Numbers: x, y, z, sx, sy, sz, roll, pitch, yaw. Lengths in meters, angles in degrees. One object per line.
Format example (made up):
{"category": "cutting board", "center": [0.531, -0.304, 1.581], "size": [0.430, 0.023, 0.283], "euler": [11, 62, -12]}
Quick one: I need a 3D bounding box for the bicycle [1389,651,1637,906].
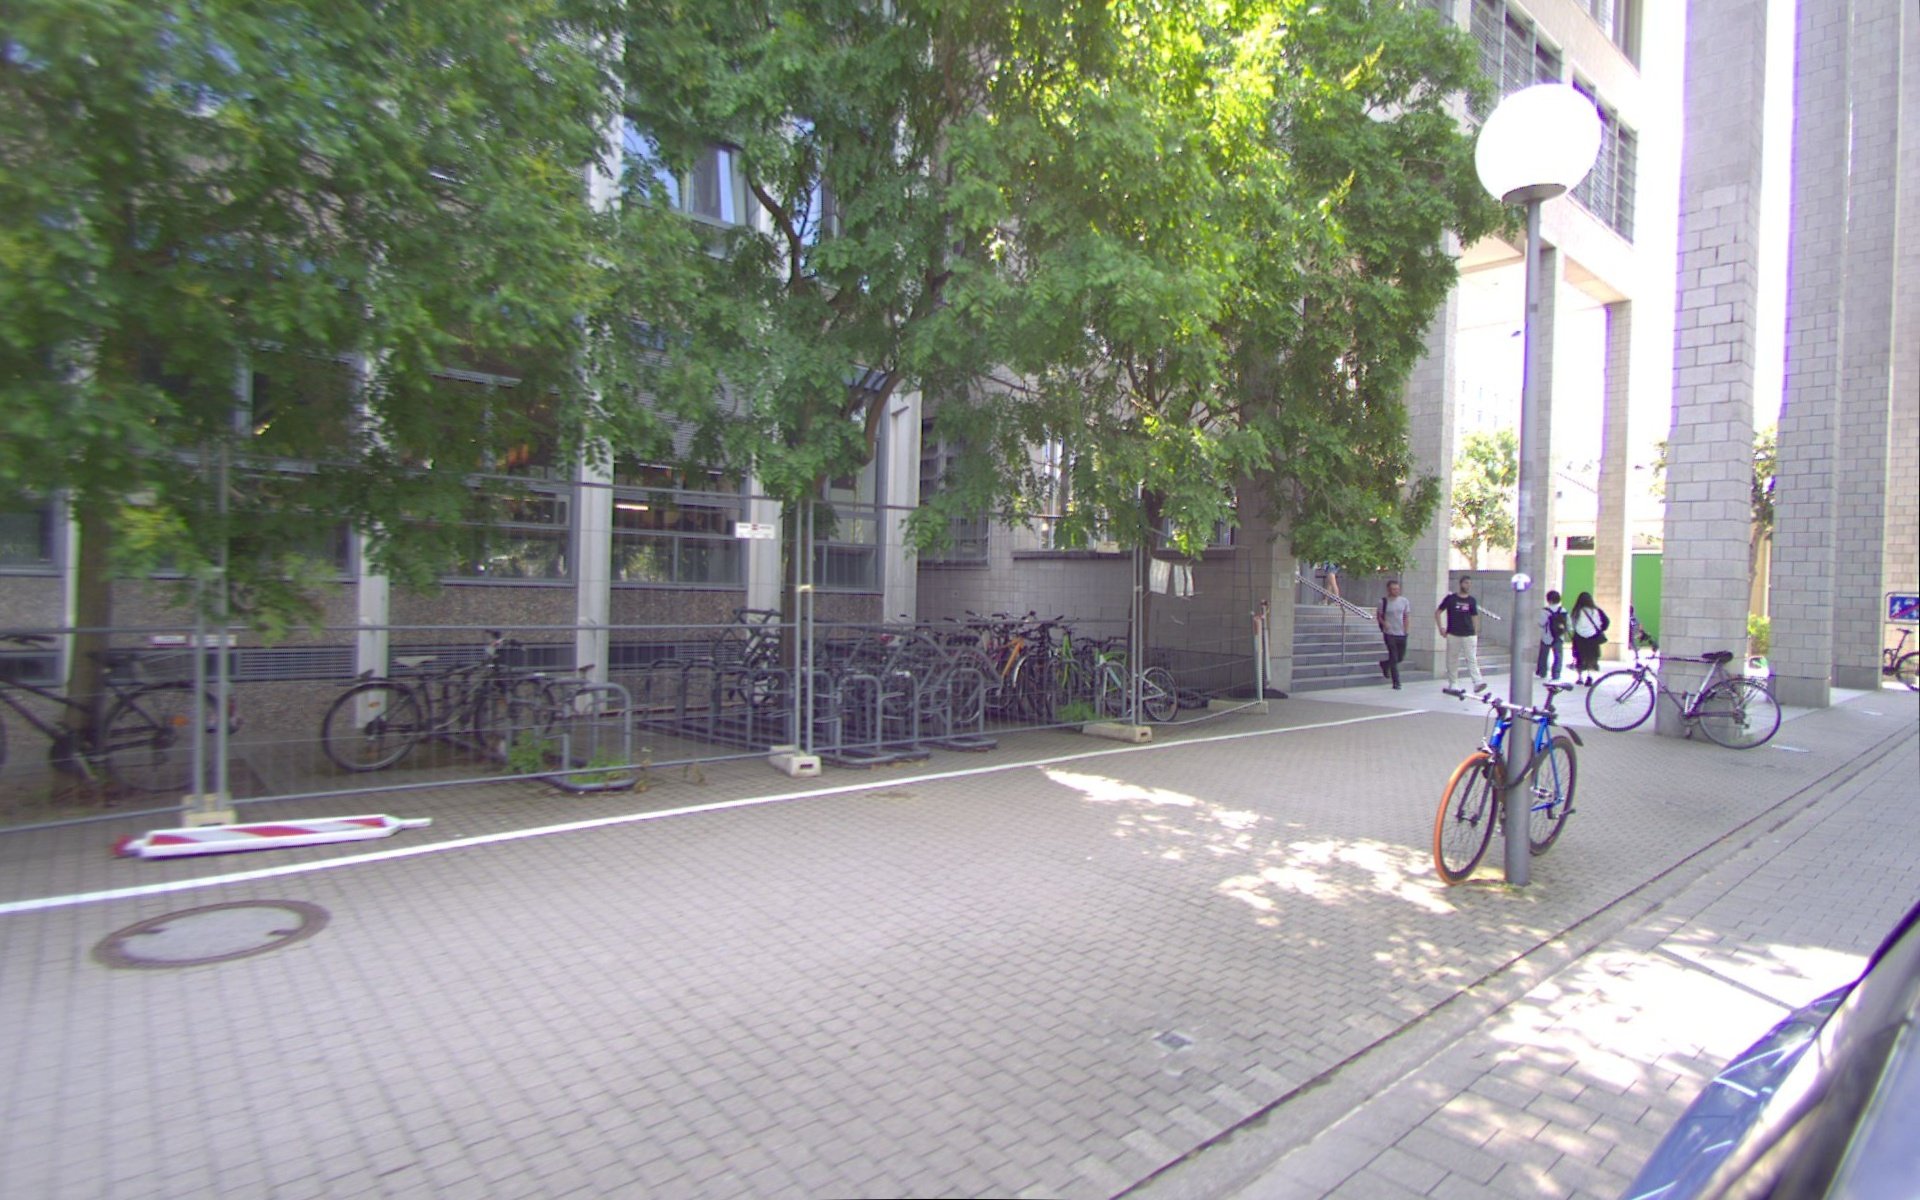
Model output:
{"category": "bicycle", "center": [2.971, 0.843, 5.347], "size": [1.826, 1.052, 0.538], "euler": [1, 1, -42]}

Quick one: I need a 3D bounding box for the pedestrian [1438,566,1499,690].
{"category": "pedestrian", "center": [7.822, 0.416, 15.603], "size": [0.694, 1.826, 0.876], "euler": [2, 0, 21]}

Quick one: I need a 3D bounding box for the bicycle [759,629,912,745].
{"category": "bicycle", "center": [-1.053, 0.723, 8.808], "size": [1.424, 0.917, 0.291], "euler": [1, 1, -45]}

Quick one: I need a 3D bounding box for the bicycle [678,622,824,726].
{"category": "bicycle", "center": [-1.975, 0.679, 9.696], "size": [1.424, 0.917, 0.291], "euler": [1, 1, -45]}

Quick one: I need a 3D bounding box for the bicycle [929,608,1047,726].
{"category": "bicycle", "center": [0.312, 0.663, 10.502], "size": [1.424, 1.142, 0.291], "euler": [1, 1, -45]}

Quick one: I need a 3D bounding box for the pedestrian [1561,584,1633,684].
{"category": "pedestrian", "center": [10.944, 0.564, 17.413], "size": [0.796, 1.637, 0.737], "euler": [2, 1, 15]}

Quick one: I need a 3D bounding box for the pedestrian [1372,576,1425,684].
{"category": "pedestrian", "center": [7.070, 0.470, 16.349], "size": [0.694, 1.676, 0.876], "euler": [2, 0, 21]}

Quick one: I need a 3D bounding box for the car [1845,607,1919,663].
{"category": "car", "center": [28.417, 1.055, 29.461], "size": [1.624, 1.494, 3.775], "euler": [-1, 3, -40]}

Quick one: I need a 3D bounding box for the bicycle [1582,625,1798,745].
{"category": "bicycle", "center": [7.523, 0.840, 10.495], "size": [0.442, 1.052, 1.740], "euler": [3, 0, -45]}

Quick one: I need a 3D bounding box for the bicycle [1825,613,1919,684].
{"category": "bicycle", "center": [16.978, 0.888, 18.338], "size": [0.595, 1.178, 1.882], "euler": [2, 2, -45]}

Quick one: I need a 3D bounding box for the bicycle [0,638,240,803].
{"category": "bicycle", "center": [-5.445, 0.718, 6.247], "size": [0.290, 0.917, 1.595], "euler": [2, 1, 40]}

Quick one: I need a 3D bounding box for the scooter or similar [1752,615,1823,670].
{"category": "scooter or similar", "center": [18.882, 0.963, 23.117], "size": [0.436, 1.165, 1.158], "euler": [2, 0, -36]}

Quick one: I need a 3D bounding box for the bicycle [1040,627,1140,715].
{"category": "bicycle", "center": [1.484, 0.772, 11.390], "size": [1.424, 0.917, 0.291], "euler": [1, 1, -45]}

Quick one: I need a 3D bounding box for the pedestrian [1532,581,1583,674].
{"category": "pedestrian", "center": [11.187, 0.513, 18.967], "size": [0.667, 1.691, 0.892], "euler": [-1, -1, 23]}

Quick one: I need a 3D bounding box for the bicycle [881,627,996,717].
{"category": "bicycle", "center": [-0.214, 0.756, 11.031], "size": [1.424, 0.898, 0.291], "euler": [1, 1, -45]}

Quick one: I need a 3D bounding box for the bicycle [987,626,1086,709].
{"category": "bicycle", "center": [0.927, 0.776, 12.060], "size": [1.424, 0.917, 0.291], "euler": [1, 1, -45]}

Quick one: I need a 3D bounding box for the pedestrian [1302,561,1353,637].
{"category": "pedestrian", "center": [8.608, -0.028, 23.721], "size": [0.633, 1.746, 0.865], "euler": [2, 0, -41]}

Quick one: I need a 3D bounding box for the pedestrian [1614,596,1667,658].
{"category": "pedestrian", "center": [18.158, 0.706, 27.020], "size": [0.806, 1.594, 0.880], "euler": [2, 0, 4]}

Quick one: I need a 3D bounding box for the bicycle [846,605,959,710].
{"category": "bicycle", "center": [-0.629, 0.628, 11.521], "size": [1.424, 1.113, 0.291], "euler": [1, 1, -45]}

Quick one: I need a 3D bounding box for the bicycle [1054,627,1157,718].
{"category": "bicycle", "center": [1.610, 0.762, 11.033], "size": [1.424, 0.917, 0.291], "euler": [1, 1, -45]}

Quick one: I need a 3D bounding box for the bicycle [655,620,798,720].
{"category": "bicycle", "center": [-2.300, 0.664, 10.085], "size": [1.424, 0.917, 0.291], "euler": [1, 1, -45]}

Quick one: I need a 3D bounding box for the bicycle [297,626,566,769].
{"category": "bicycle", "center": [-3.855, 0.669, 7.528], "size": [0.290, 0.917, 1.778], "euler": [2, 1, 40]}

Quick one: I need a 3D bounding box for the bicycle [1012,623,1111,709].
{"category": "bicycle", "center": [1.198, 0.741, 11.753], "size": [1.424, 0.917, 0.291], "euler": [1, 1, -45]}

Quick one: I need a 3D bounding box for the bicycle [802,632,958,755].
{"category": "bicycle", "center": [-0.638, 0.744, 8.459], "size": [1.424, 0.917, 0.291], "euler": [1, 1, -45]}

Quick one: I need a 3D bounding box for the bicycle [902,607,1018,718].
{"category": "bicycle", "center": [0.022, 0.635, 10.768], "size": [1.424, 1.108, 0.291], "euler": [1, 1, -45]}

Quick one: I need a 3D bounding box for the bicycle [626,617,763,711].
{"category": "bicycle", "center": [-2.769, 0.644, 10.662], "size": [1.424, 0.917, 0.291], "euler": [1, 1, -45]}

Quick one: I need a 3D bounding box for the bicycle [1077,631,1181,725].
{"category": "bicycle", "center": [1.821, 0.800, 10.769], "size": [1.424, 0.917, 0.291], "euler": [1, 1, -45]}

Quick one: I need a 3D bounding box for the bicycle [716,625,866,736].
{"category": "bicycle", "center": [-1.507, 0.702, 9.208], "size": [1.424, 0.917, 0.291], "euler": [1, 1, -45]}
